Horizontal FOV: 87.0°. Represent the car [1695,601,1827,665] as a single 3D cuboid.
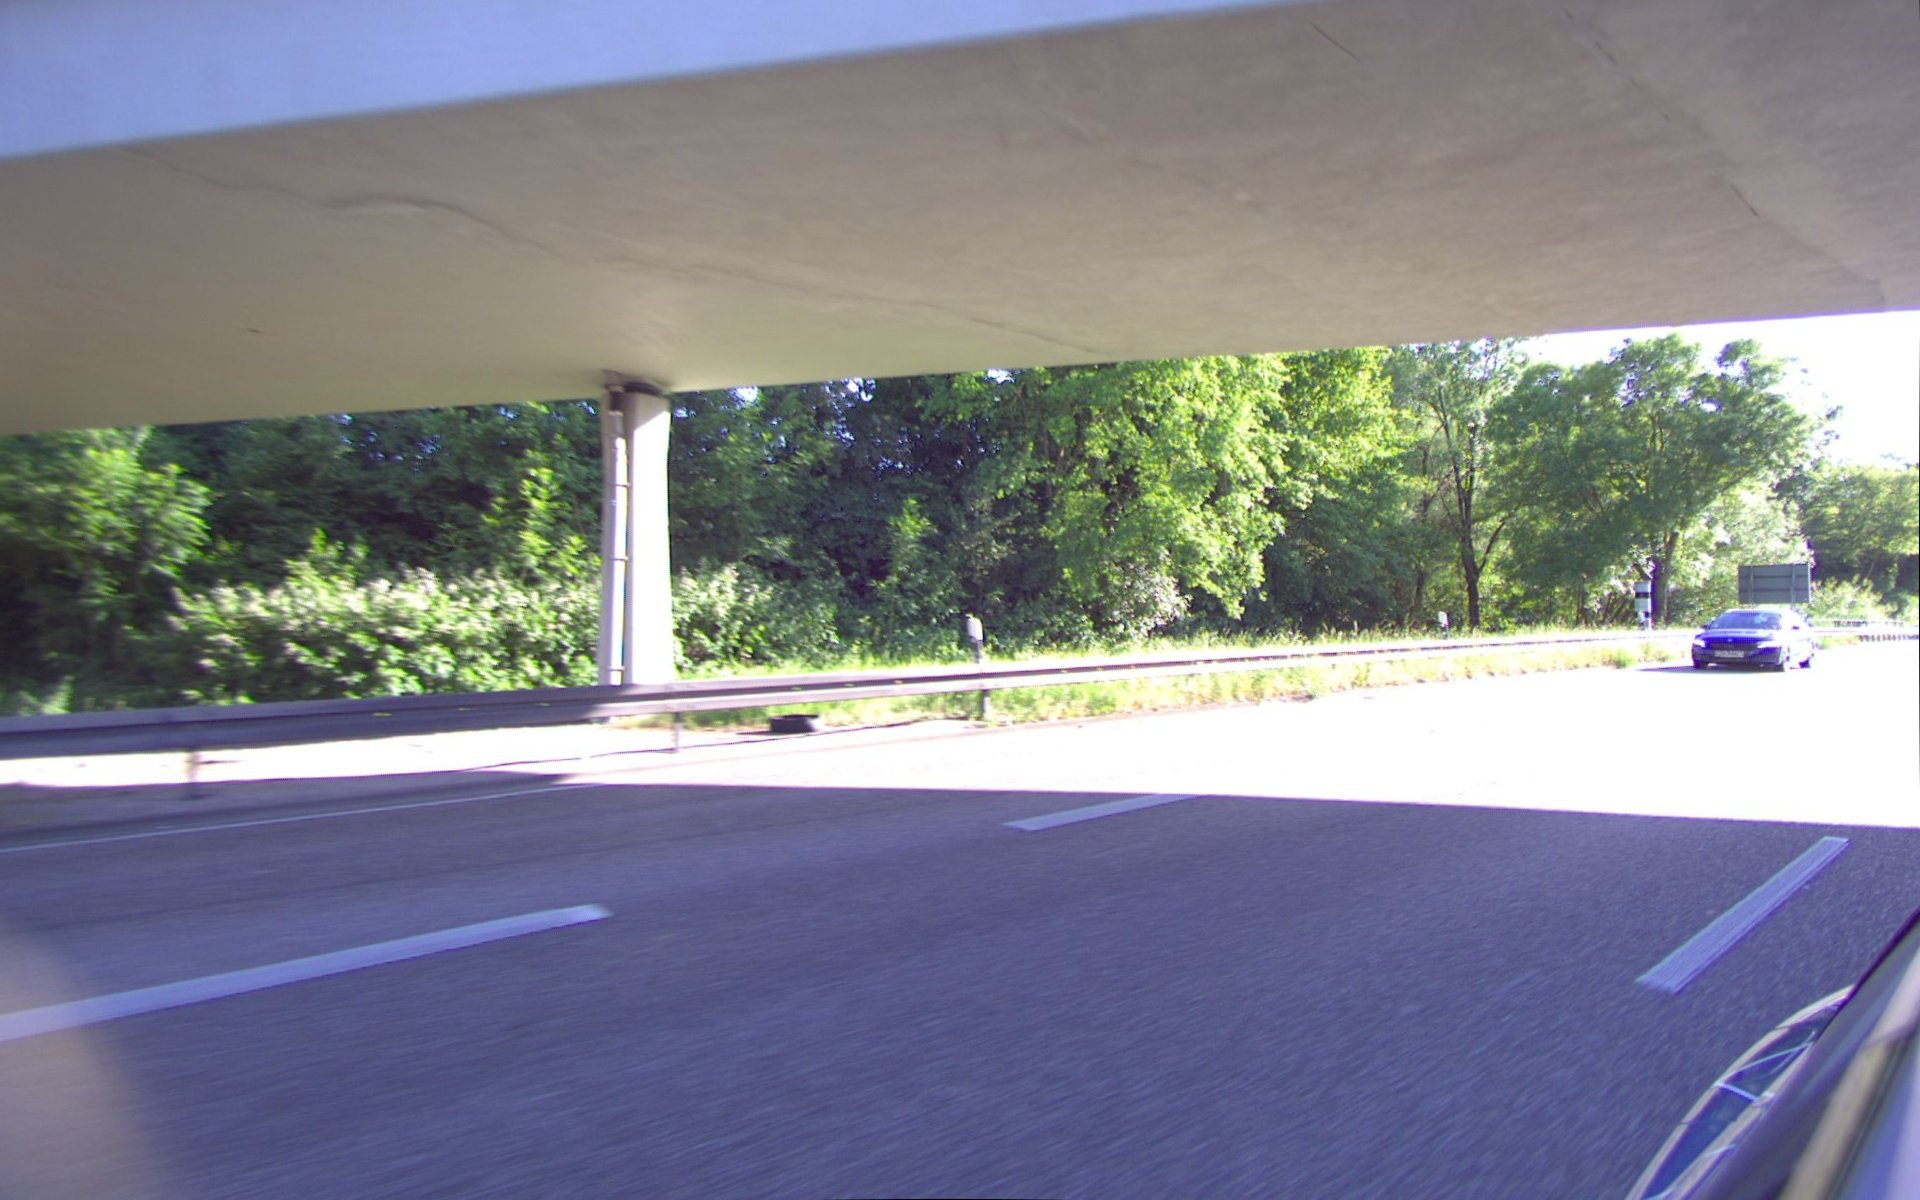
[{"bbox_3d":[19.463,0.733,24.534,3.983,1.427,1.762,0,0,-40],"label":"car"}]
